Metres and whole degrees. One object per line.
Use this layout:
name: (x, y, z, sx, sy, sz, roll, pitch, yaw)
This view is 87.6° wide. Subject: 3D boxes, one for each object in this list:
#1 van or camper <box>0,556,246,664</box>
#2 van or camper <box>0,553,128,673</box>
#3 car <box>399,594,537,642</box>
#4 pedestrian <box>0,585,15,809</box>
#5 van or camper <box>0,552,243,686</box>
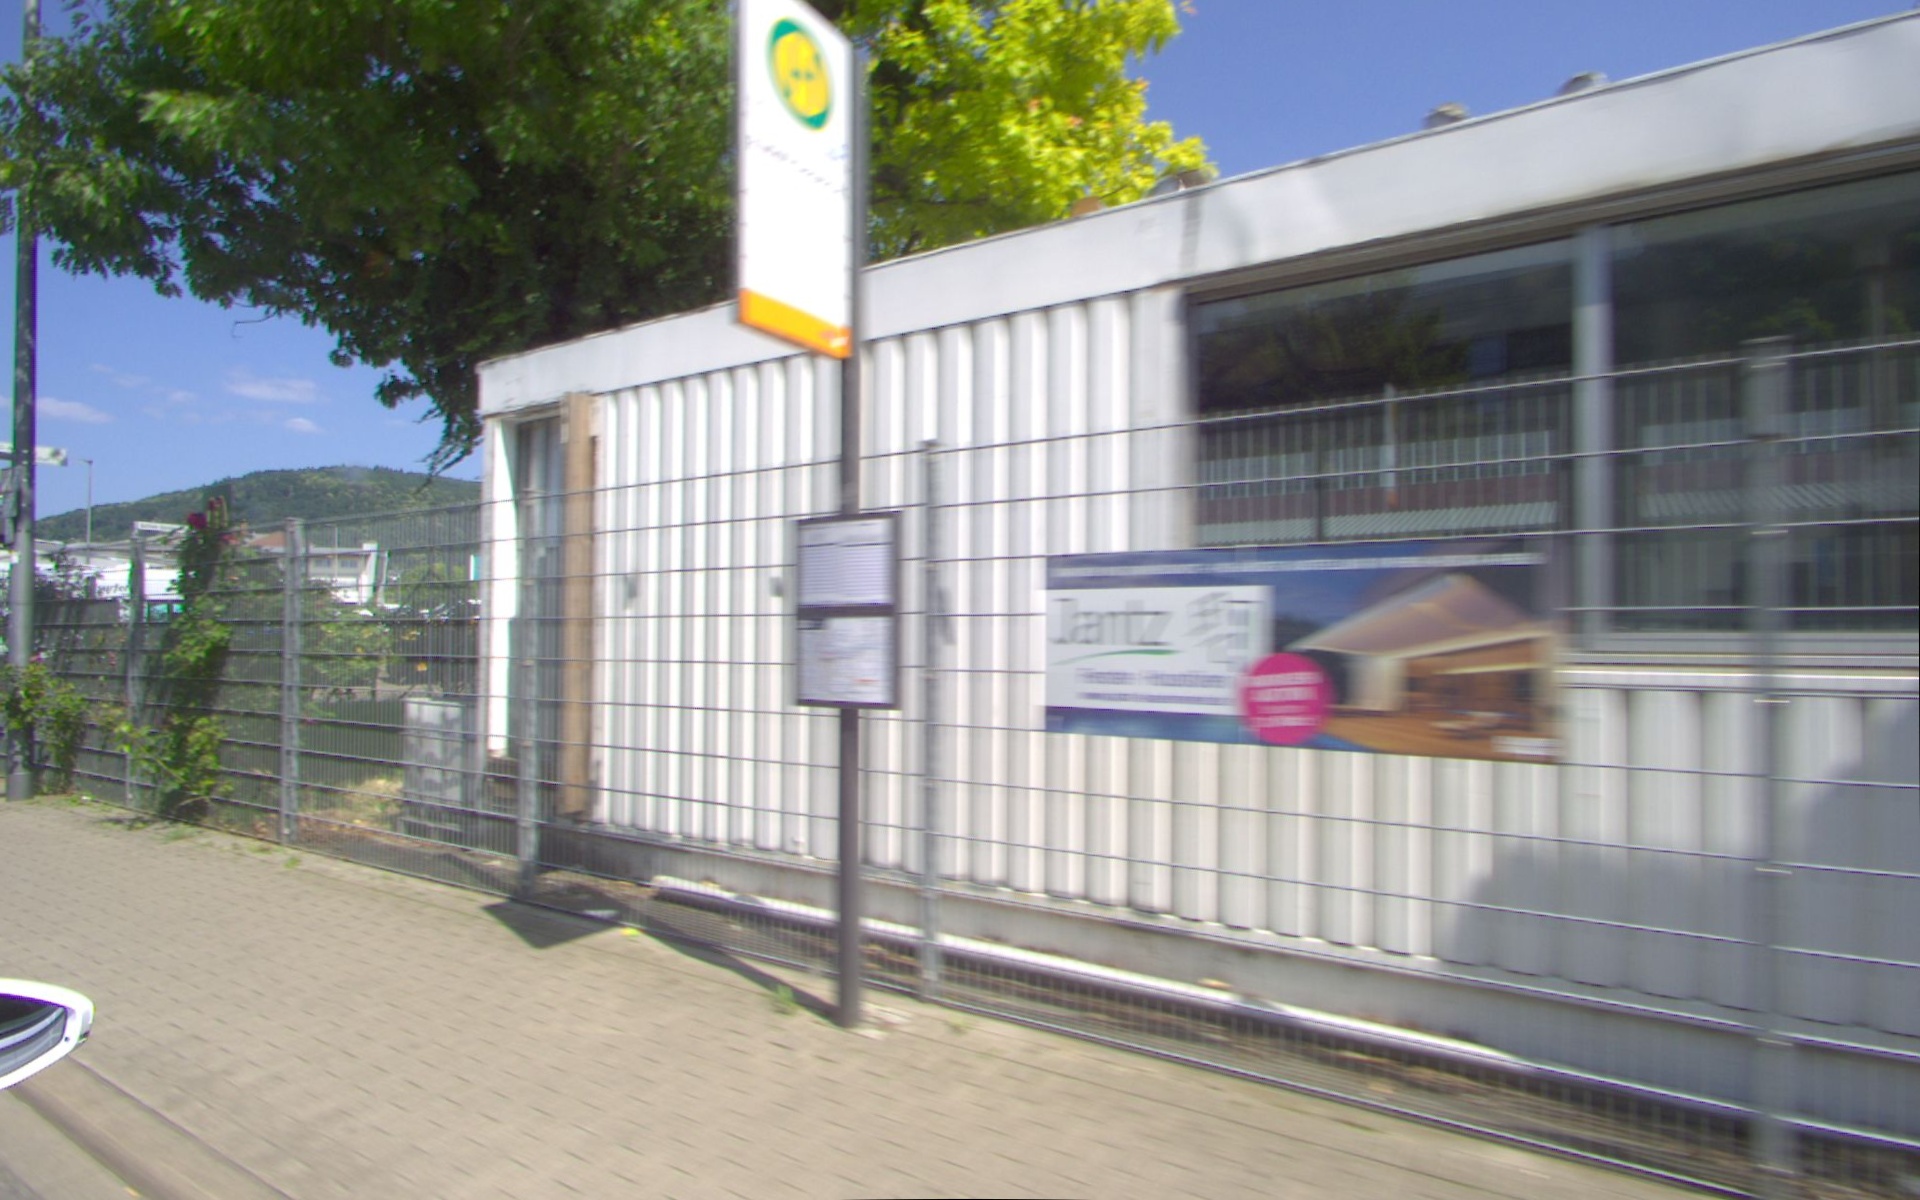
van or camper: (-26.216, 0.330, 30.434, 2.302, 2.984, 7.047, -1, -1, 33)
van or camper: (-23.656, 0.283, 23.646, 2.062, 2.809, 5.796, 1, -1, 35)
car: (-22.957, 0.887, 46.930, 2.111, 2.039, 5.435, 0, -3, 38)
pedestrian: (-7.933, 0.739, 7.654, 0.874, 1.721, 0.811, 0, -1, 31)
van or camper: (-20.376, 0.472, 23.378, 2.021, 2.850, 5.492, 2, -2, 37)
